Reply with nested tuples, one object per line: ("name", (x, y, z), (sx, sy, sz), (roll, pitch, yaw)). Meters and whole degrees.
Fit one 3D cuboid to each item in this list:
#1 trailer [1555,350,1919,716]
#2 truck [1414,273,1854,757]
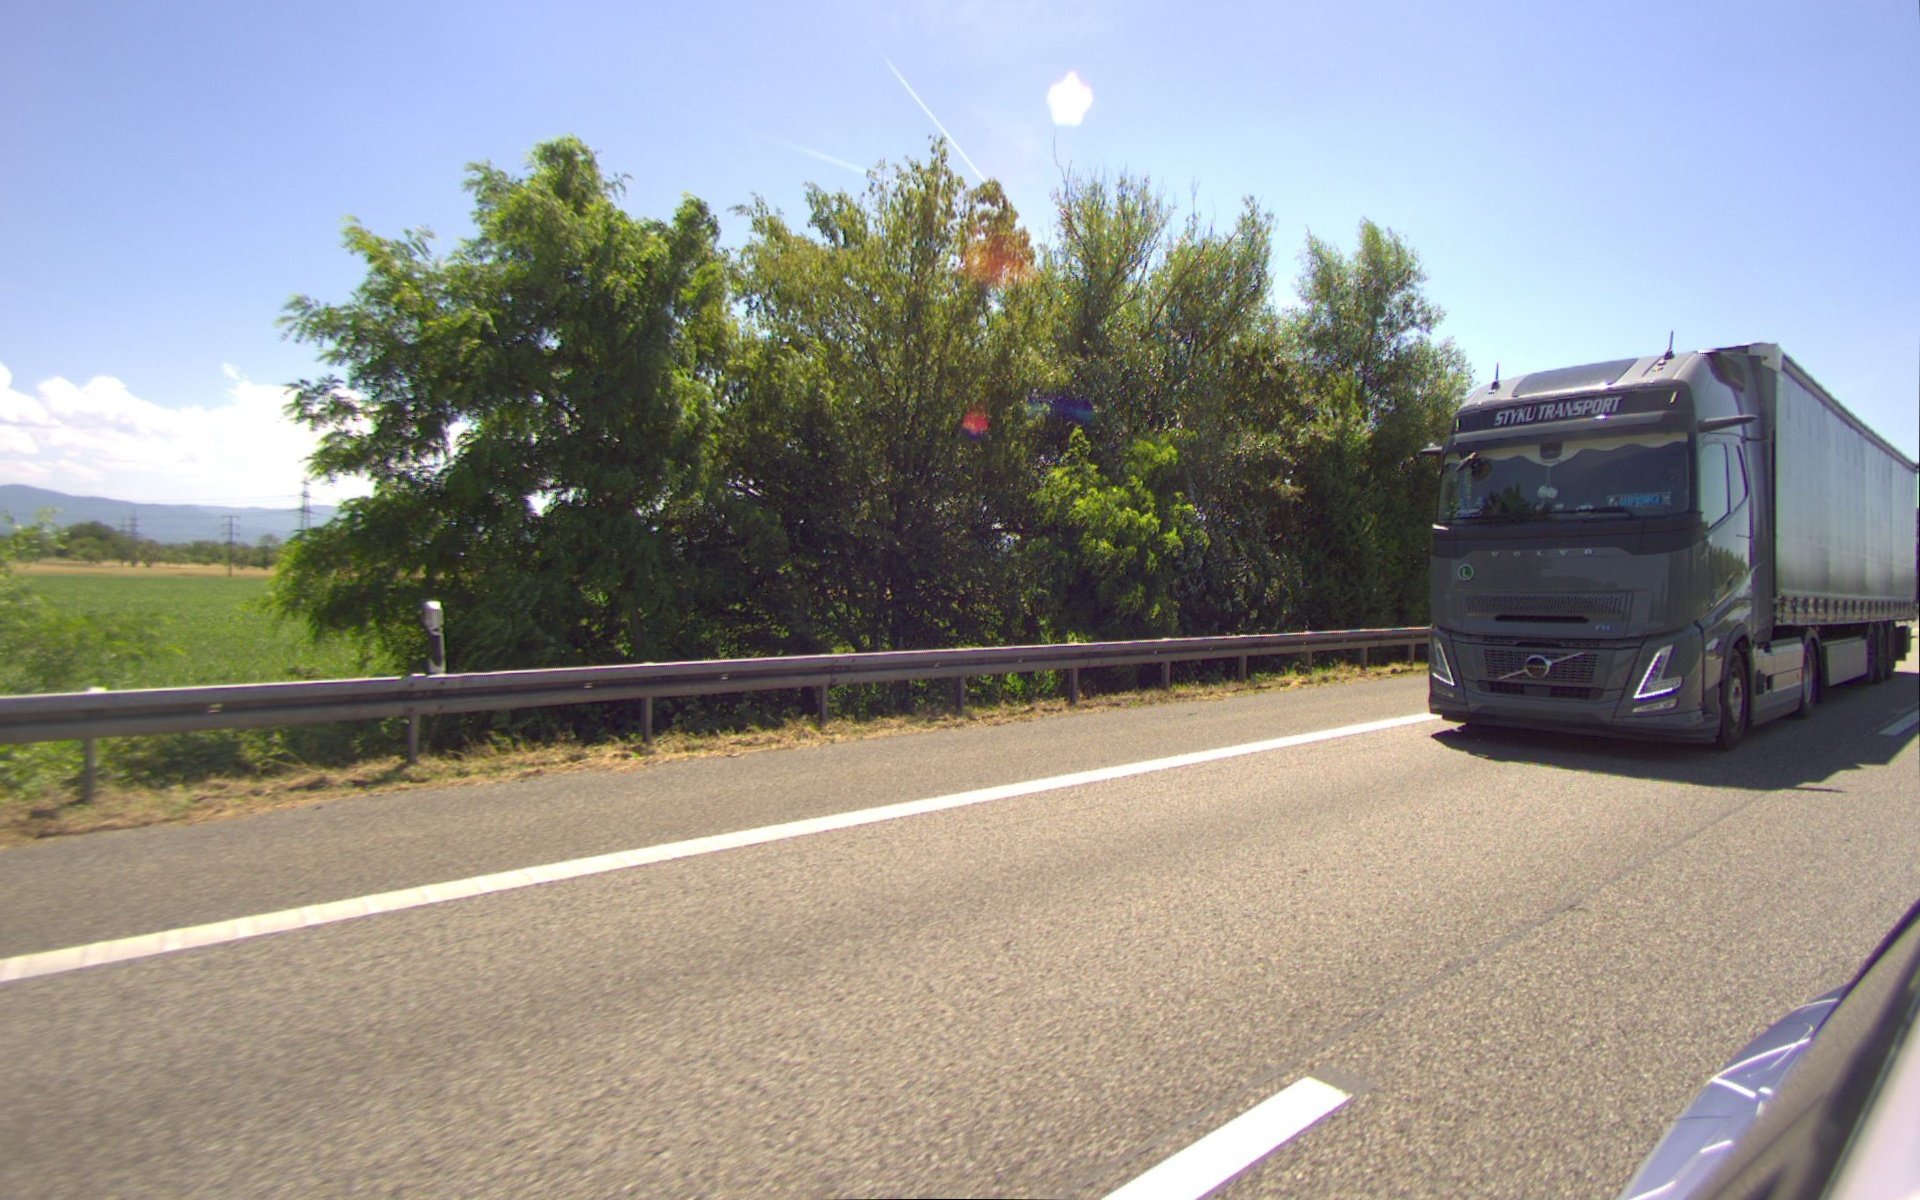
("trailer", (13.505, -0.797, 16.429), (13.302, 4.004, 2.557), (0, 1, -41))
("truck", (7.876, -0.741, 11.462), (6.400, 4.004, 2.557), (0, 1, -41))
